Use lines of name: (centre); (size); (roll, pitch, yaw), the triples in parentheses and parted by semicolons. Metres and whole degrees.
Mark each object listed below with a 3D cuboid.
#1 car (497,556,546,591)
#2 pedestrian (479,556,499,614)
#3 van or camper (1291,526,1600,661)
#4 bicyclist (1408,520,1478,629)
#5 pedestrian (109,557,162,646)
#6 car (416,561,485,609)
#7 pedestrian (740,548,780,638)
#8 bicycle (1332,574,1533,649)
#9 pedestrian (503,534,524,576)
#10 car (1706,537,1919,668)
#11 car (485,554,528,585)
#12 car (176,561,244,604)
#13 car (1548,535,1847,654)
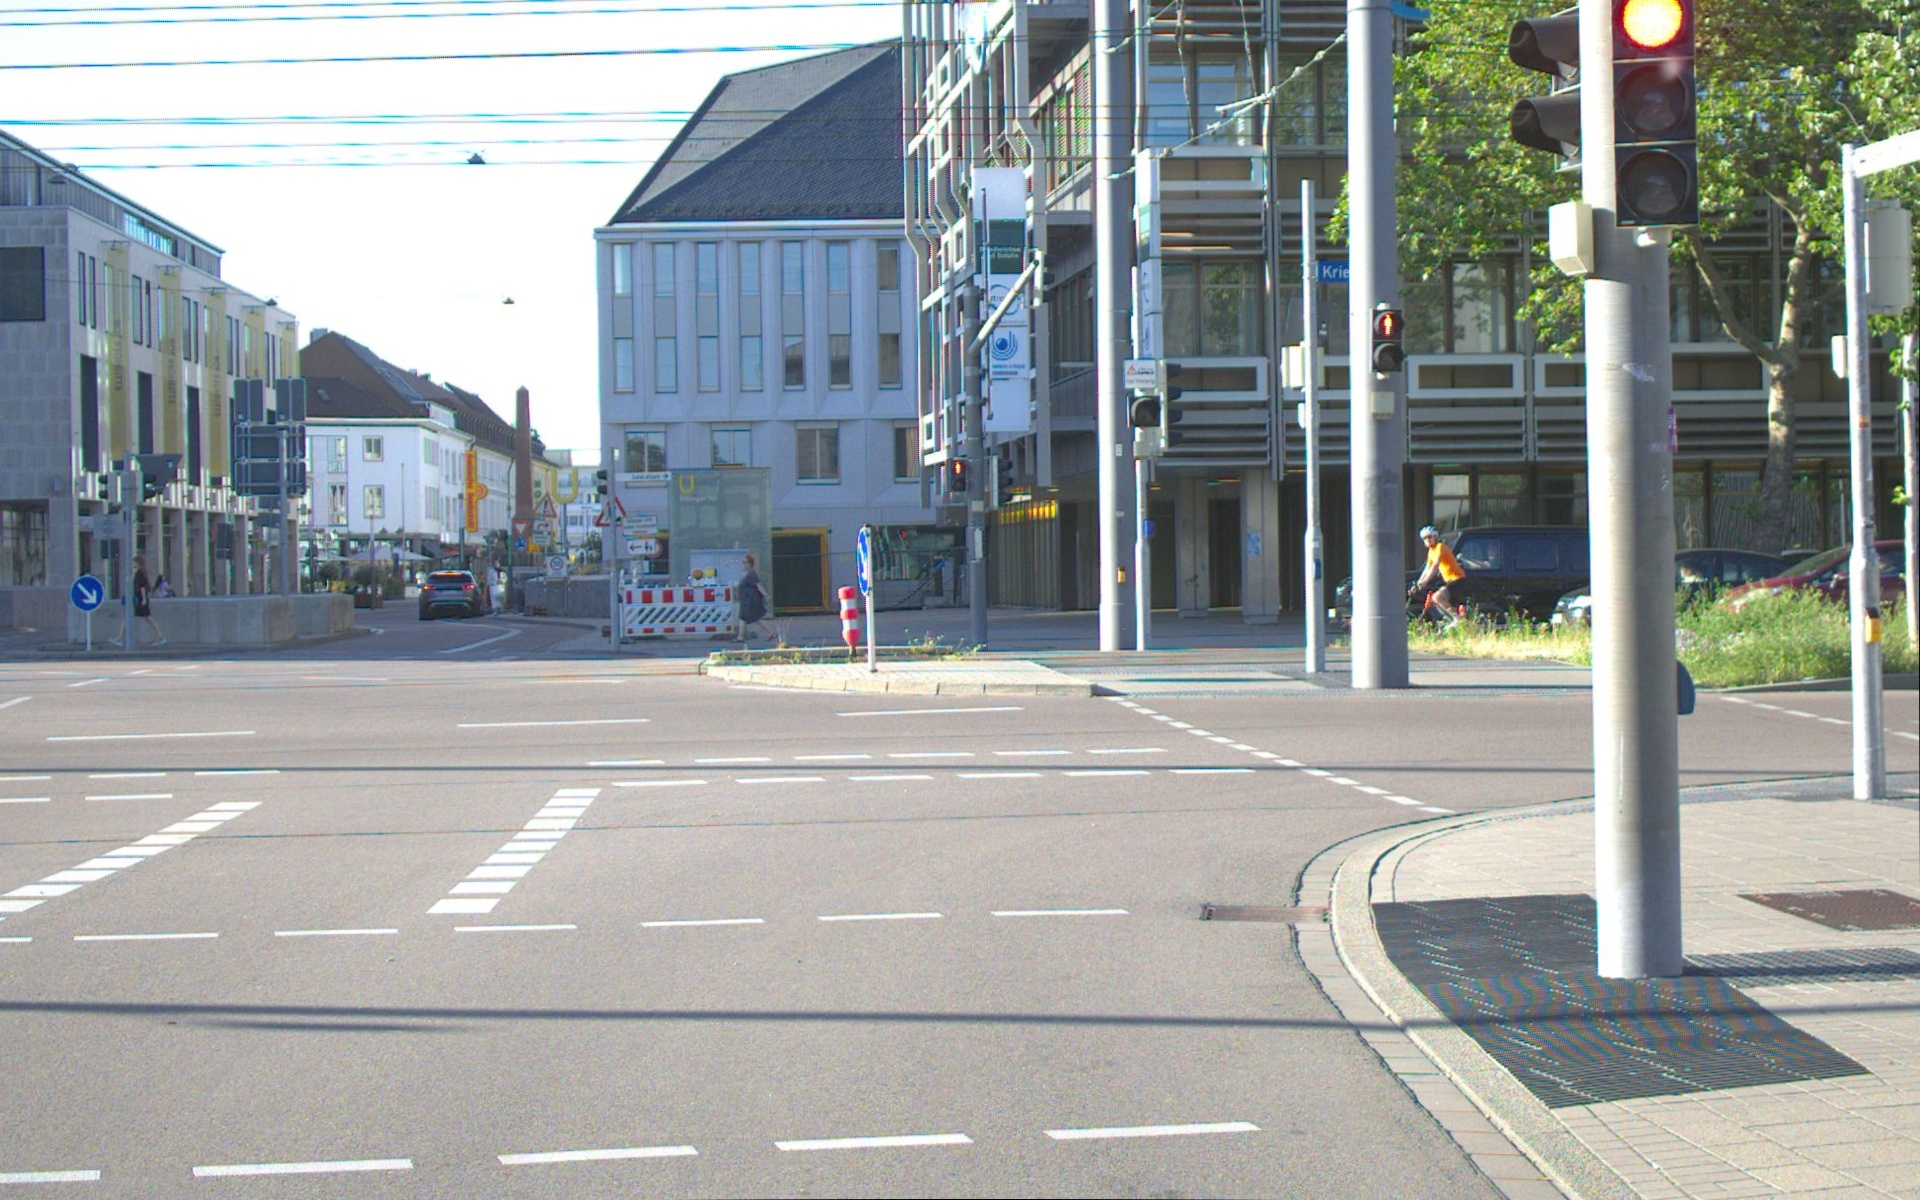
car: (-18.586, -1.126, 145.888); (1.658, 1.453, 3.542); (-1, 1, -1)
pedestrian: (-13.567, -0.443, 99.077); (0.489, 1.658, 0.532); (1, 0, -14)
van or camper: (7.543, -0.119, 53.657); (4.414, 2.007, 1.995); (-1, 1, -5)
bicyclist: (6.618, -0.353, 47.134); (0.822, 1.469, 0.652); (-1, 1, -4)
pedestrian: (-15.317, 0.021, 63.866); (0.777, 1.632, 0.626); (-1, 1, 5)
car: (-16.014, -0.480, 108.087); (1.658, 1.453, 3.542); (-1, 1, -1)
pedestrian: (-3.747, -0.137, 64.493); (0.700, 1.682, 0.619); (-1, 1, 0)
bicycle: (6.461, 0.155, 47.124); (2.568, 0.972, 1.047); (-1, 1, -3)
pedestrian: (-21.389, -2.158, 164.694); (0.910, 1.958, 0.823); (1, 0, -1)
car: (12.471, 0.003, 46.438); (4.287, 1.678, 1.826); (-1, 1, -11)
car: (-21.911, -1.475, 166.152); (1.658, 1.453, 3.542); (-1, 1, -1)
car: (-26.660, -0.629, 122.214); (1.658, 1.453, 3.542); (-1, 1, -1)
car: (10.821, -0.098, 50.627); (3.986, 1.678, 1.761); (-1, 1, -1)
